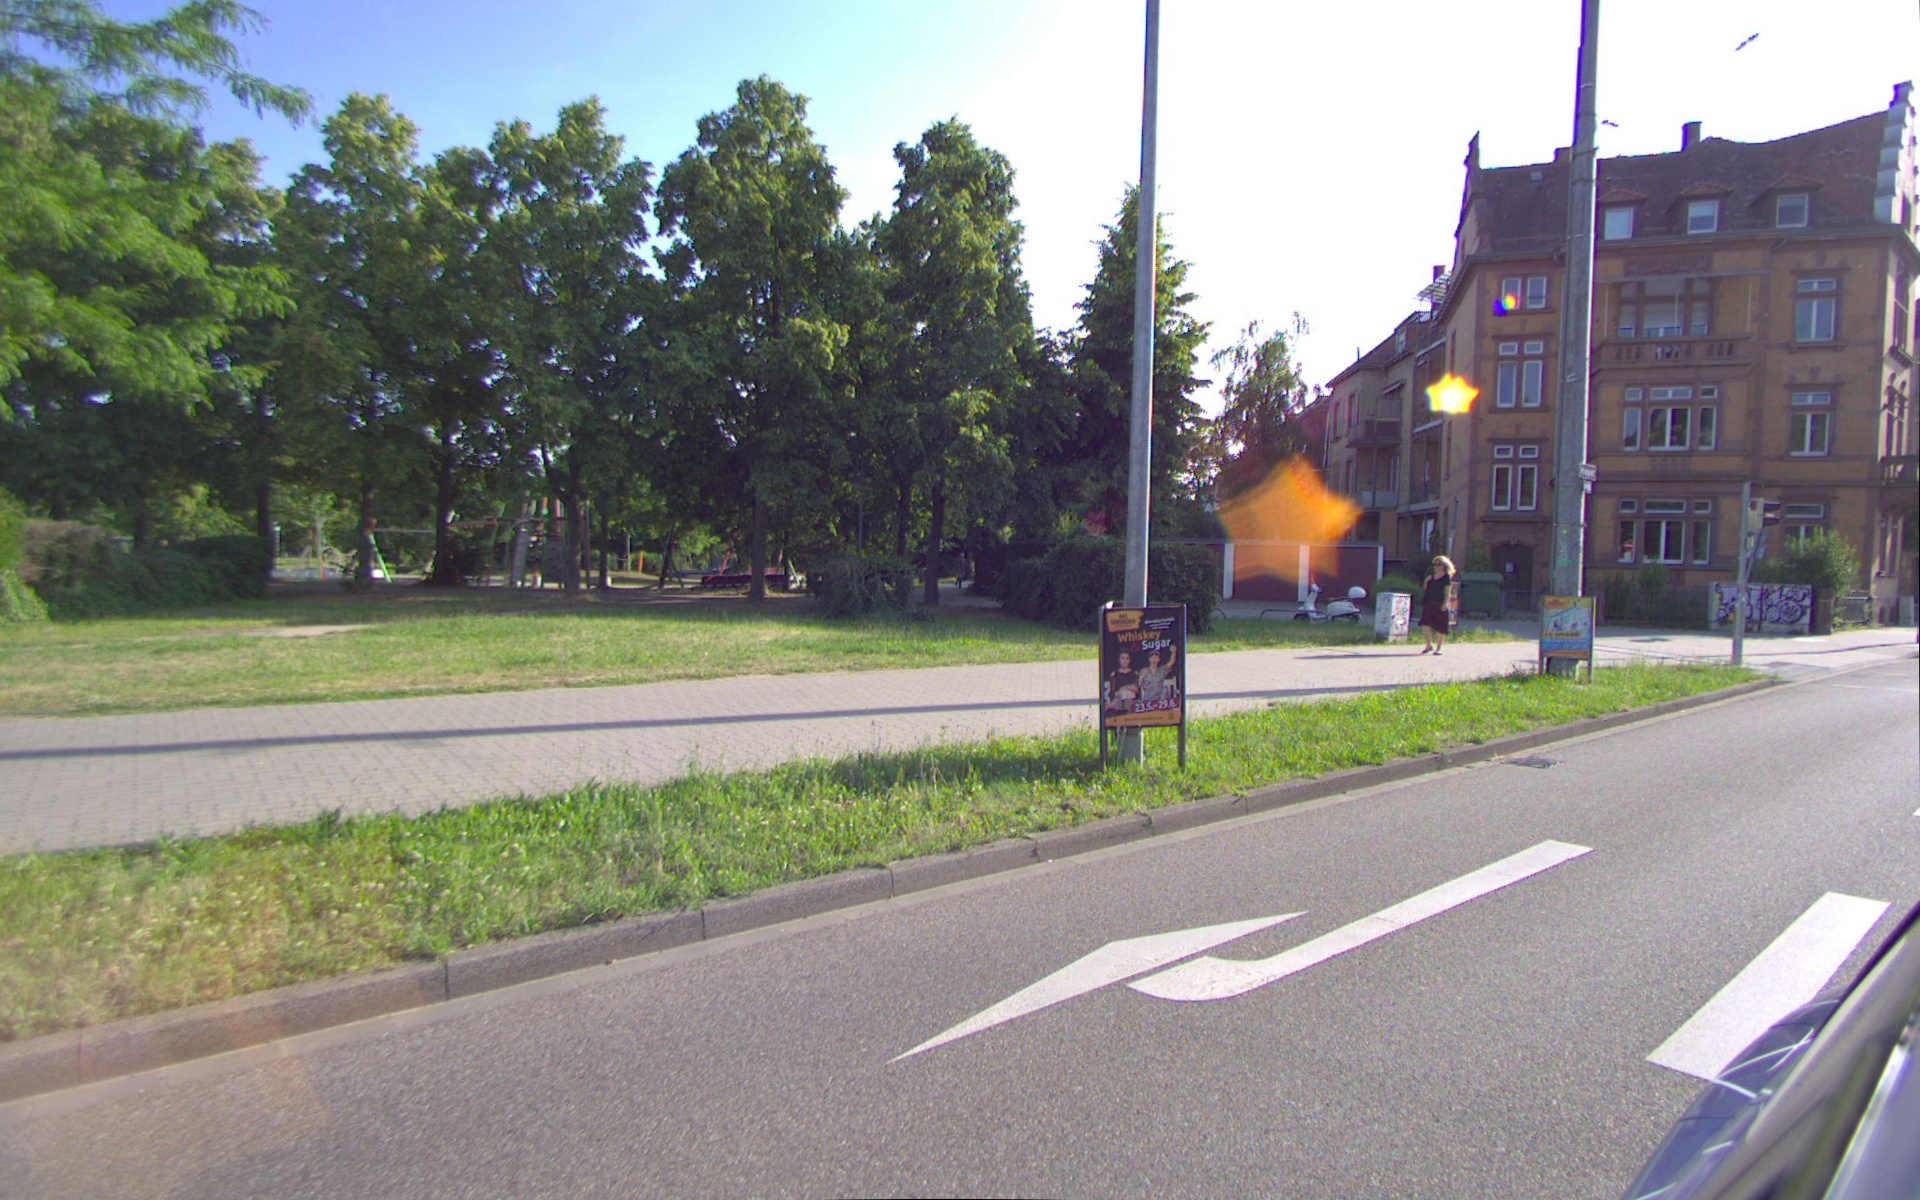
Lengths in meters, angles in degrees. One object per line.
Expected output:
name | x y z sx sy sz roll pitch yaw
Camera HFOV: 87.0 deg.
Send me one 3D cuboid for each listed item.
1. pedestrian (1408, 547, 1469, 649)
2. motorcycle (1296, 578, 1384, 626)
pedestrian | 8.392 -0.039 17.746 0.538 1.711 0.618 1 6 -35
motorcycle | 9.810 0.036 26.171 0.696 1.174 1.998 0 1 -44
